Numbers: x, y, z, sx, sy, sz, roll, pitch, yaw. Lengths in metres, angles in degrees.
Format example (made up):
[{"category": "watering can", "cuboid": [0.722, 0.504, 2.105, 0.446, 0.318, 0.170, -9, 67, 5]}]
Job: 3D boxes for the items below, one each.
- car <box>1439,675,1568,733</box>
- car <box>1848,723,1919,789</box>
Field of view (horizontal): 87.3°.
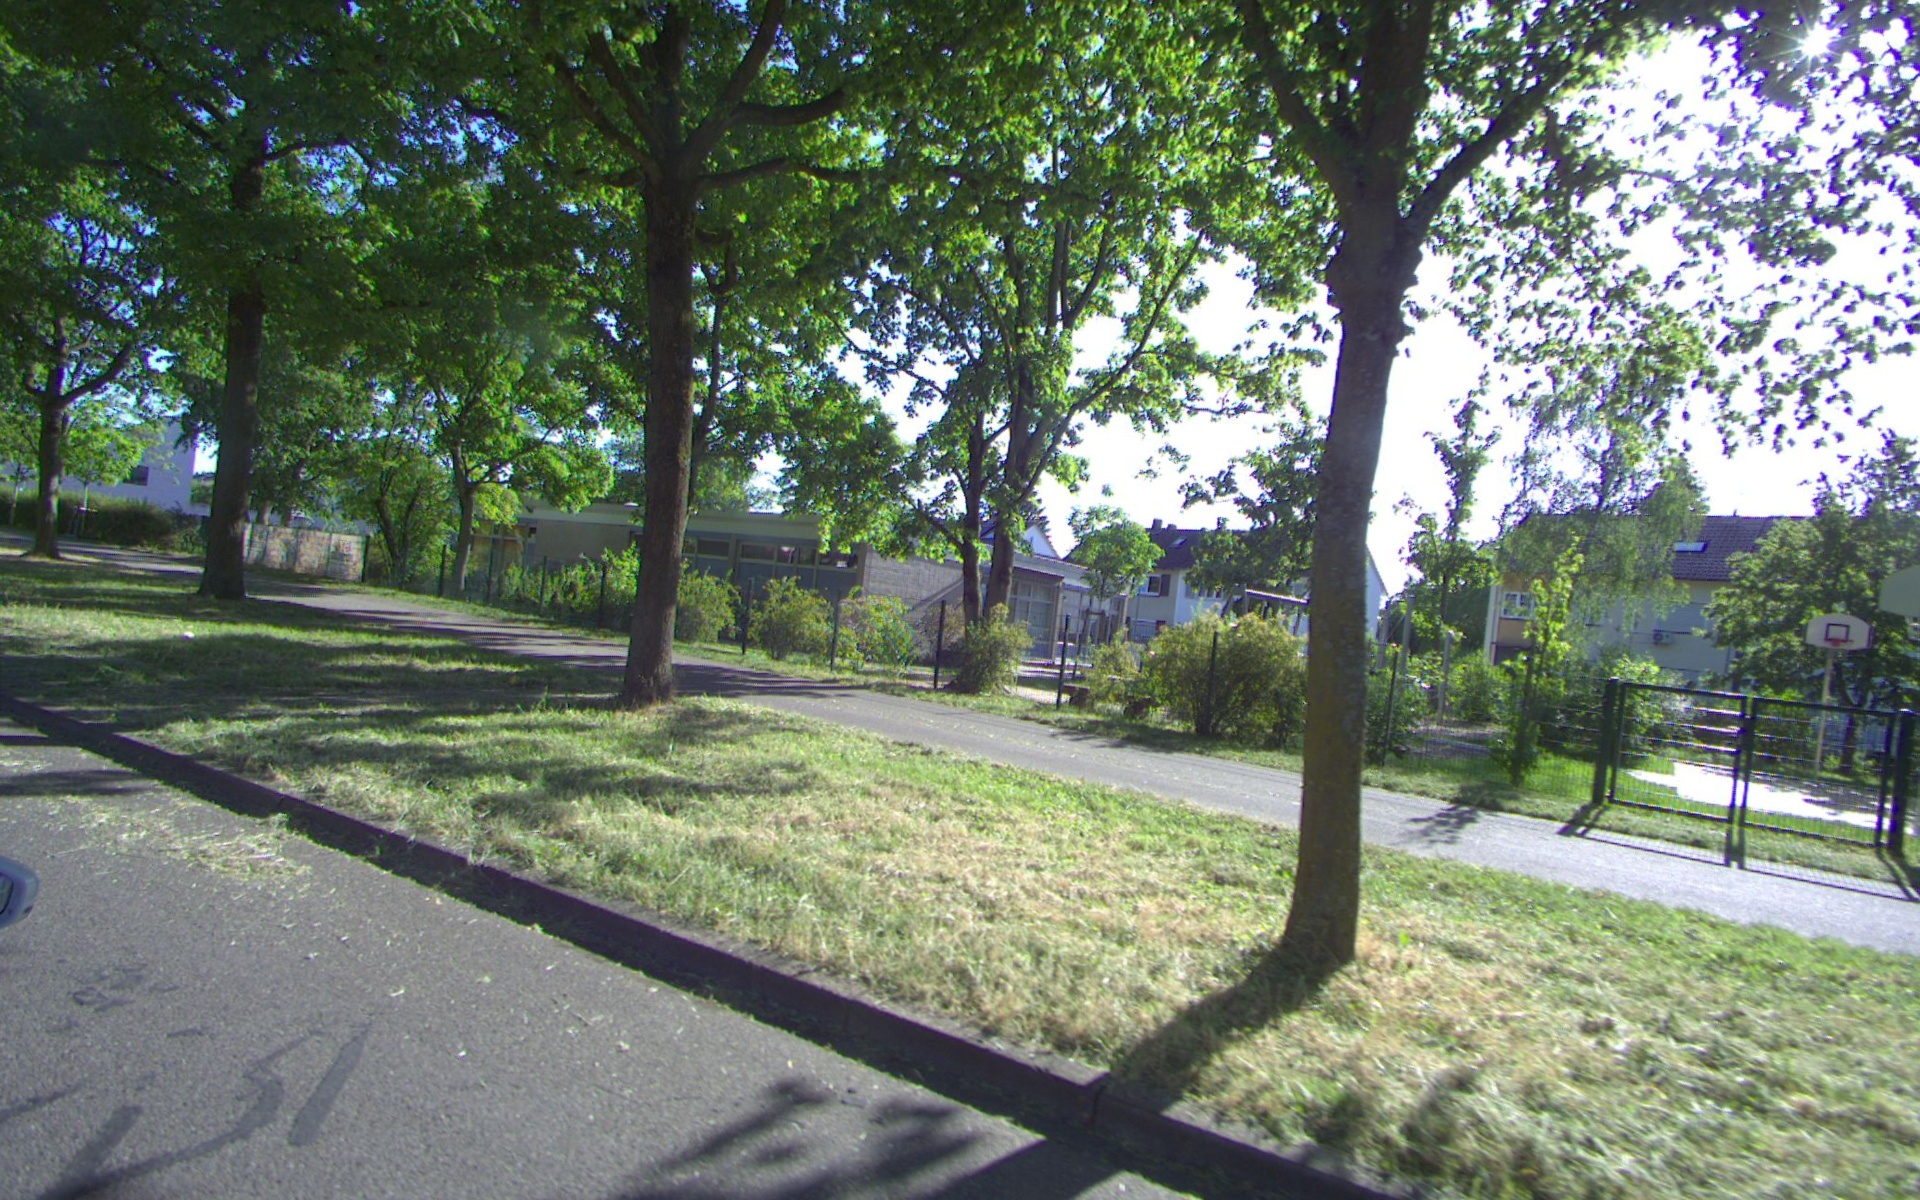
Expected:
[{"category": "car", "cuboid": [21.318, 4.074, 39.575, 1.889, 1.771, 3.958, 5, -1, -39]}, {"category": "car", "cuboid": [29.826, 4.898, 30.537, 1.889, 1.771, 3.958, 5, -1, -39]}]
